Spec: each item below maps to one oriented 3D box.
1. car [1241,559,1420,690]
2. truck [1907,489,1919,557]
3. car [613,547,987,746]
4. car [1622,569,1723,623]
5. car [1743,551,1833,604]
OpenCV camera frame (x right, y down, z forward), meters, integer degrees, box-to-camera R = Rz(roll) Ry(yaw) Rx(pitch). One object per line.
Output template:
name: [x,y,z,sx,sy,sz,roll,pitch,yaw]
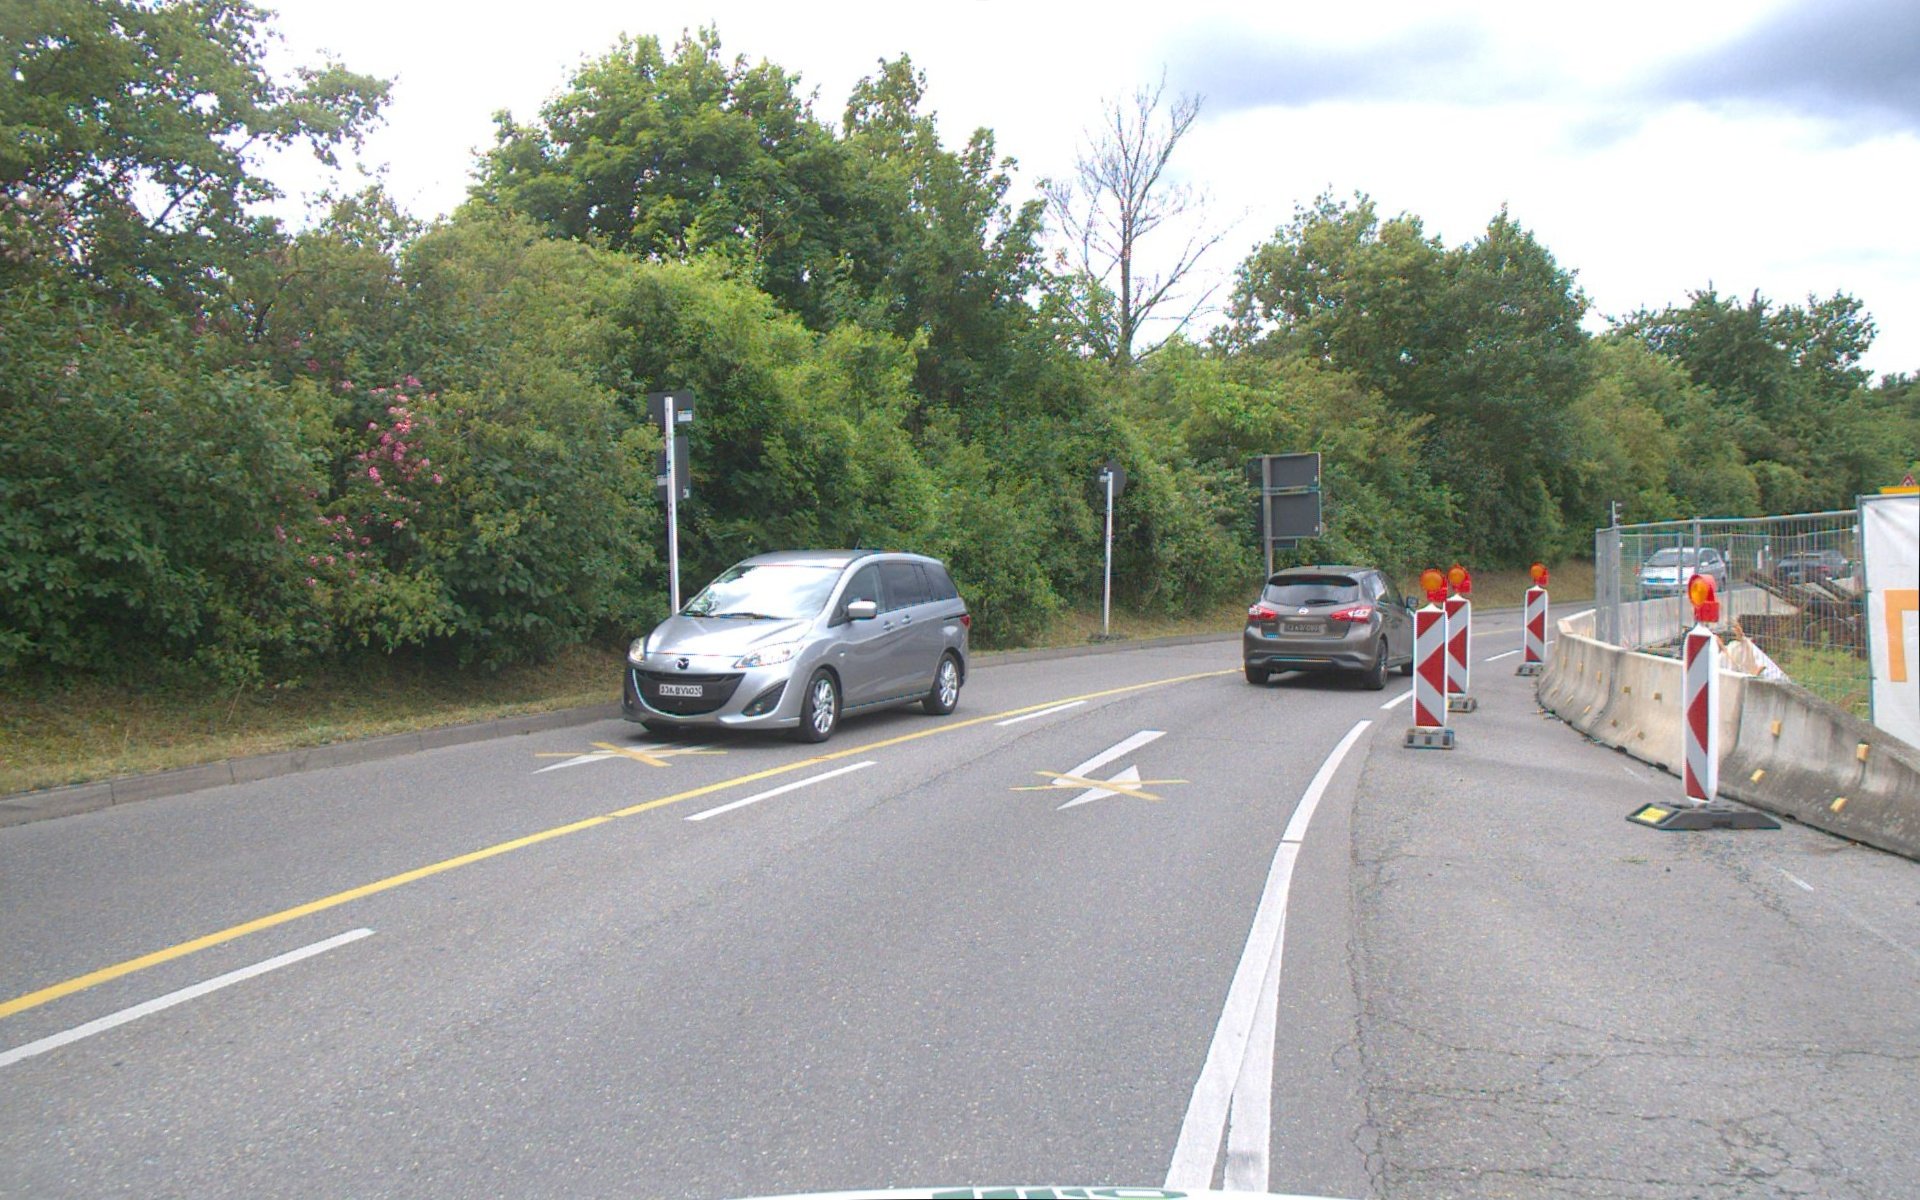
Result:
car: [5.058,0.248,22.184,1.761,1.579,4.001,1,1,21]
truck: [51.493,-4.092,85.571,2.777,3.393,8.336,-1,2,41]
car: [-1.293,0.340,15.346,1.599,1.572,4.350,1,1,23]
car: [22.055,-0.165,51.143,1.632,1.579,4.161,2,2,42]
car: [25.740,-0.720,51.386,1.790,1.579,3.772,1,2,38]
